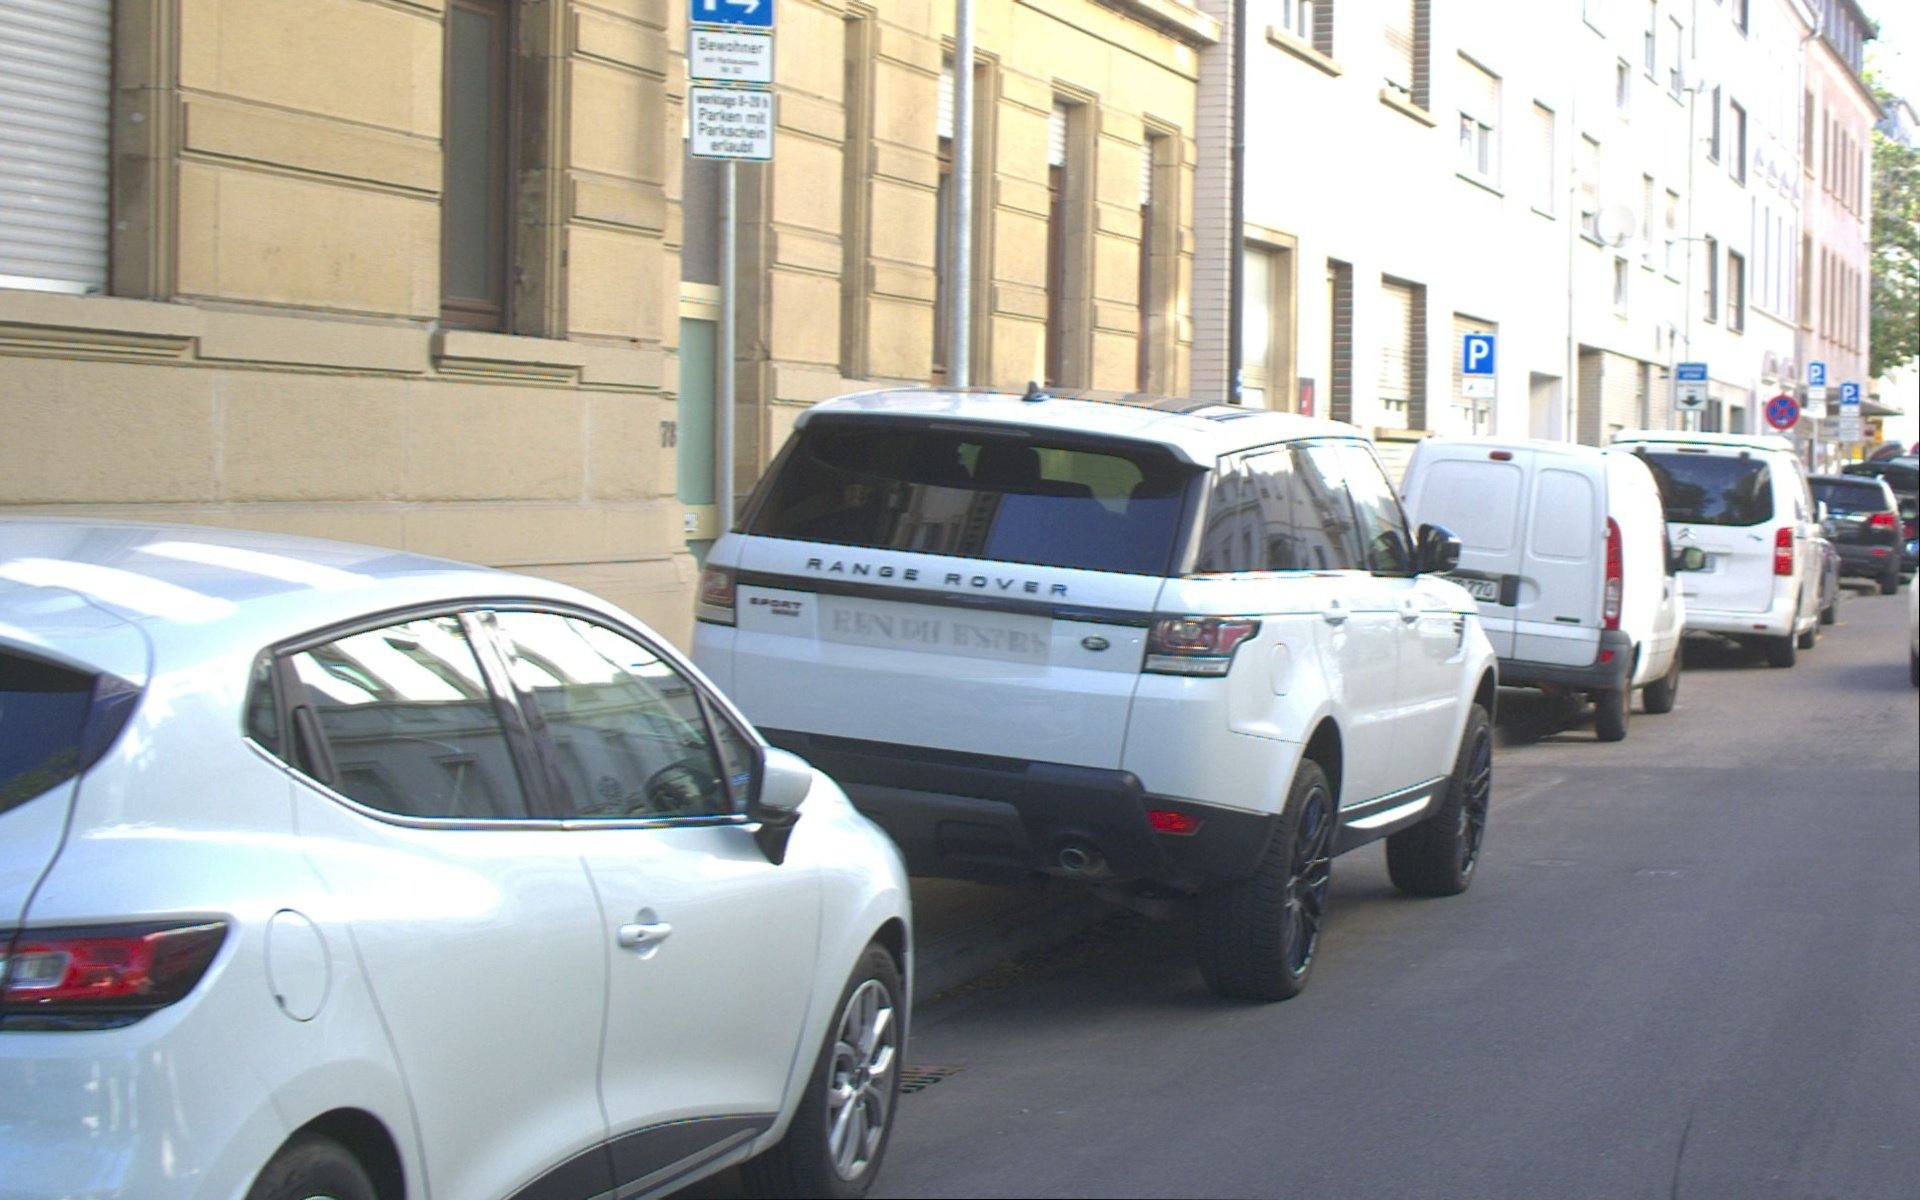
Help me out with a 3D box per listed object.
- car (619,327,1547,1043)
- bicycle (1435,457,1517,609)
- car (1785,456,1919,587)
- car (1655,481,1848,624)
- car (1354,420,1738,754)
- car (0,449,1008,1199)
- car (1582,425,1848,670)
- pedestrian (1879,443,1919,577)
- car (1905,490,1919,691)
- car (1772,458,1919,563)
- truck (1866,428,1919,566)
[{"bbox_3d":[0.674,0.151,12.098,2.024,2.006,4.539,1,2,19],"label":"car"},{"bbox_3d":[5.328,-0.706,35.434,0.557,1.504,1.799,3,2,15],"label":"bicycle"},{"bbox_3d":[13.476,-1.226,51.551,1.881,1.749,4.540,4,3,15],"label":"car"},{"bbox_3d":[8.811,-0.568,38.071,1.708,1.445,4.298,2,2,17],"label":"car"},{"bbox_3d":[3.952,-0.168,22.644,1.746,1.869,4.086,5,4,18],"label":"car"},{"bbox_3d":[-1.391,0.521,6.450,1.868,1.556,3.939,3,2,17],"label":"car"},{"bbox_3d":[6.906,-0.542,31.087,1.896,1.951,4.778,3,3,17],"label":"car"},{"bbox_3d":[15.717,-1.491,57.435,0.619,2.221,0.687,1,0,19],"label":"pedestrian"},{"bbox_3d":[8.535,-0.115,26.993,1.836,1.481,4.053,0,1,20],"label":"car"},{"bbox_3d":[15.703,-1.580,60.008,2.443,1.700,5.238,2,2,19],"label":"car"},{"bbox_3d":[18.882,-1.949,67.216,2.158,2.581,6.245,1,1,14],"label":"truck"}]
